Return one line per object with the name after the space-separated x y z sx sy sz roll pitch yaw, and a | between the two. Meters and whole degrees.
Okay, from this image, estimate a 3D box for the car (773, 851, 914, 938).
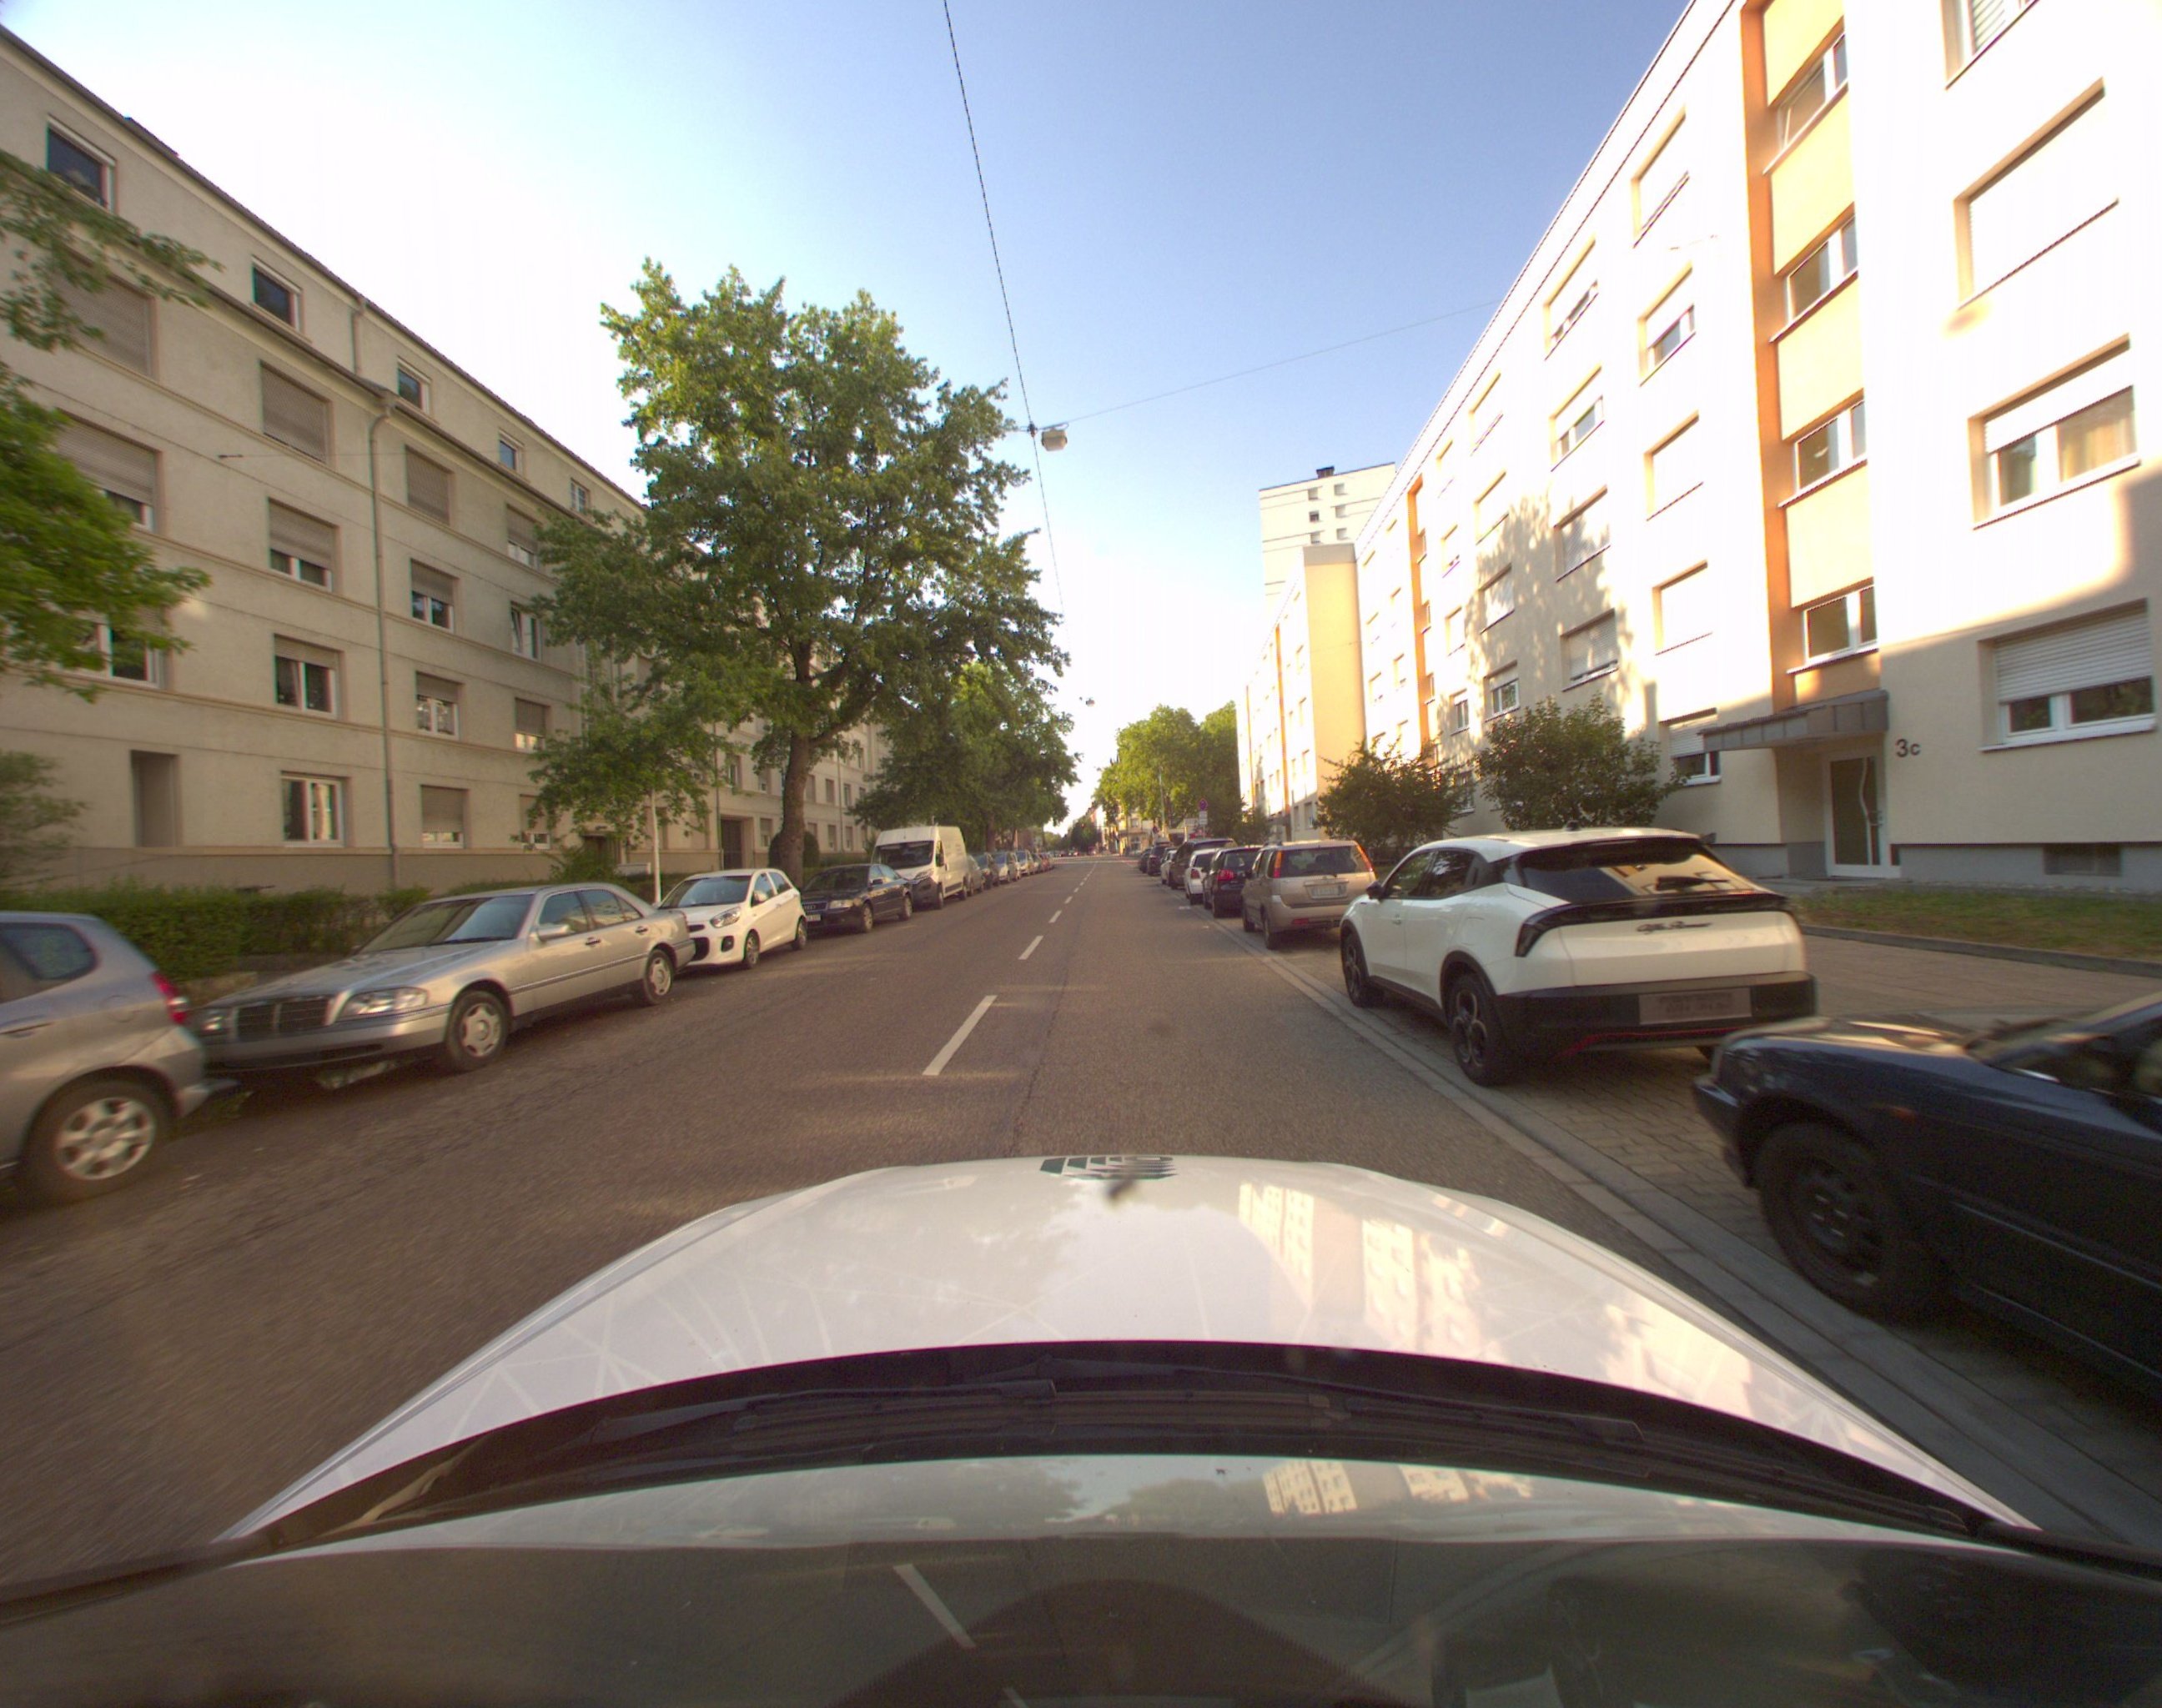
-5.034 0.819 17.821 1.701 1.574 3.821 -5 -1 2 | car

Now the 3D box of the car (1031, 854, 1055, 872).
-3.149 0.740 67.886 1.697 1.440 4.130 0 -1 2 | car

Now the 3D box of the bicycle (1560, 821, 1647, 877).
11.517 -0.095 18.060 0.491 1.113 2.398 -6 -1 6 | bicycle

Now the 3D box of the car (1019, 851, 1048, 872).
-3.616 0.579 62.723 1.864 1.558 4.001 0 -1 2 | car

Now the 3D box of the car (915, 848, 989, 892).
-4.792 0.595 30.850 1.949 1.558 4.347 0 -1 2 | car

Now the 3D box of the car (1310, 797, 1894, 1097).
3.284 0.513 6.259 1.867 1.442 3.999 -4 -1 0 | car

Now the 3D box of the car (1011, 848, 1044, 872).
-3.724 0.442 57.660 1.864 1.558 4.499 0 -1 2 | car

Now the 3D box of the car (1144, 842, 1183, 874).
4.632 0.219 46.216 1.890 1.651 4.344 -2 0 2 | car

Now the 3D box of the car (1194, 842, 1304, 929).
3.686 0.667 18.576 1.830 1.772 3.980 0 -1 2 | car

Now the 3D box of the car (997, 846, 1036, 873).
-4.092 0.375 52.379 1.909 1.677 4.976 0 -1 2 | car

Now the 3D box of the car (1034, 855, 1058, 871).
-3.098 0.794 72.593 1.763 1.352 4.712 0 -1 2 | car

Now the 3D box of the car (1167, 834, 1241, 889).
4.161 0.277 28.316 2.016 1.750 4.768 0 -1 2 | car

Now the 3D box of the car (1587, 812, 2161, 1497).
3.088 0.625 1.568 1.654 1.438 4.314 0 -1 2 | car

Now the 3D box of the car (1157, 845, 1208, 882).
4.151 0.404 33.830 1.673 1.415 4.725 0 -1 2 | car

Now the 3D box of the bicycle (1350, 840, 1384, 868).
11.667 -0.018 33.330 0.598 1.081 2.394 -3 1 2 | bicycle

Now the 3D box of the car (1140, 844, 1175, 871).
4.856 0.243 52.048 1.919 1.659 4.679 0 -1 2 | car

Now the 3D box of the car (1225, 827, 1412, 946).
3.680 0.482 13.465 1.954 1.605 4.281 -1 -1 2 | car

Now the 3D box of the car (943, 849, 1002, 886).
-4.735 0.591 36.099 1.864 1.558 4.367 0 -1 2 | car

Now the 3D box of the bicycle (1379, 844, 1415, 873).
12.886 0.173 33.254 0.598 1.081 2.394 -3 1 2 | bicycle

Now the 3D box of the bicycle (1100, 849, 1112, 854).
5.892 -0.660 191.606 2.797 1.203 0.516 0 -1 -3 | bicycle

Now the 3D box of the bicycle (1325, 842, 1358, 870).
10.667 0.059 33.401 0.598 1.081 2.394 -3 1 2 | bicycle

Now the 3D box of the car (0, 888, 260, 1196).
-5.811 0.855 2.800 1.867 1.355 3.999 0 -1 0 | car

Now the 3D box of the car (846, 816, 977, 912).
-4.920 0.319 24.813 2.349 2.445 6.168 -3 -1 2 | car

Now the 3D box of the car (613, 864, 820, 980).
-5.573 0.972 12.910 1.700 1.574 3.263 -1 -1 2 | car

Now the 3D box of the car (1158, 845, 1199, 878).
4.709 0.384 39.691 1.600 1.494 4.043 -2 -1 1 | car

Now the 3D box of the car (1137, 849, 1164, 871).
5.012 0.453 58.767 1.734 1.473 4.001 0 -1 2 | car

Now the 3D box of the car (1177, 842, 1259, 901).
3.775 0.481 23.102 1.829 1.501 4.175 0 -1 3 | car

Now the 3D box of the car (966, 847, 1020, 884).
-4.389 0.537 41.211 1.864 1.558 5.059 -6 0 2 | car

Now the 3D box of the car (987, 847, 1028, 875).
-4.248 0.424 47.599 1.864 1.558 4.102 0 -1 2 | car

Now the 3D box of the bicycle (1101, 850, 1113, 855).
6.145 -0.437 189.912 2.798 1.203 0.509 0 -1 -5 | bicycle

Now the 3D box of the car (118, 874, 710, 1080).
-5.624 0.897 7.910 1.867 1.355 4.653 0 -1 0 | car
